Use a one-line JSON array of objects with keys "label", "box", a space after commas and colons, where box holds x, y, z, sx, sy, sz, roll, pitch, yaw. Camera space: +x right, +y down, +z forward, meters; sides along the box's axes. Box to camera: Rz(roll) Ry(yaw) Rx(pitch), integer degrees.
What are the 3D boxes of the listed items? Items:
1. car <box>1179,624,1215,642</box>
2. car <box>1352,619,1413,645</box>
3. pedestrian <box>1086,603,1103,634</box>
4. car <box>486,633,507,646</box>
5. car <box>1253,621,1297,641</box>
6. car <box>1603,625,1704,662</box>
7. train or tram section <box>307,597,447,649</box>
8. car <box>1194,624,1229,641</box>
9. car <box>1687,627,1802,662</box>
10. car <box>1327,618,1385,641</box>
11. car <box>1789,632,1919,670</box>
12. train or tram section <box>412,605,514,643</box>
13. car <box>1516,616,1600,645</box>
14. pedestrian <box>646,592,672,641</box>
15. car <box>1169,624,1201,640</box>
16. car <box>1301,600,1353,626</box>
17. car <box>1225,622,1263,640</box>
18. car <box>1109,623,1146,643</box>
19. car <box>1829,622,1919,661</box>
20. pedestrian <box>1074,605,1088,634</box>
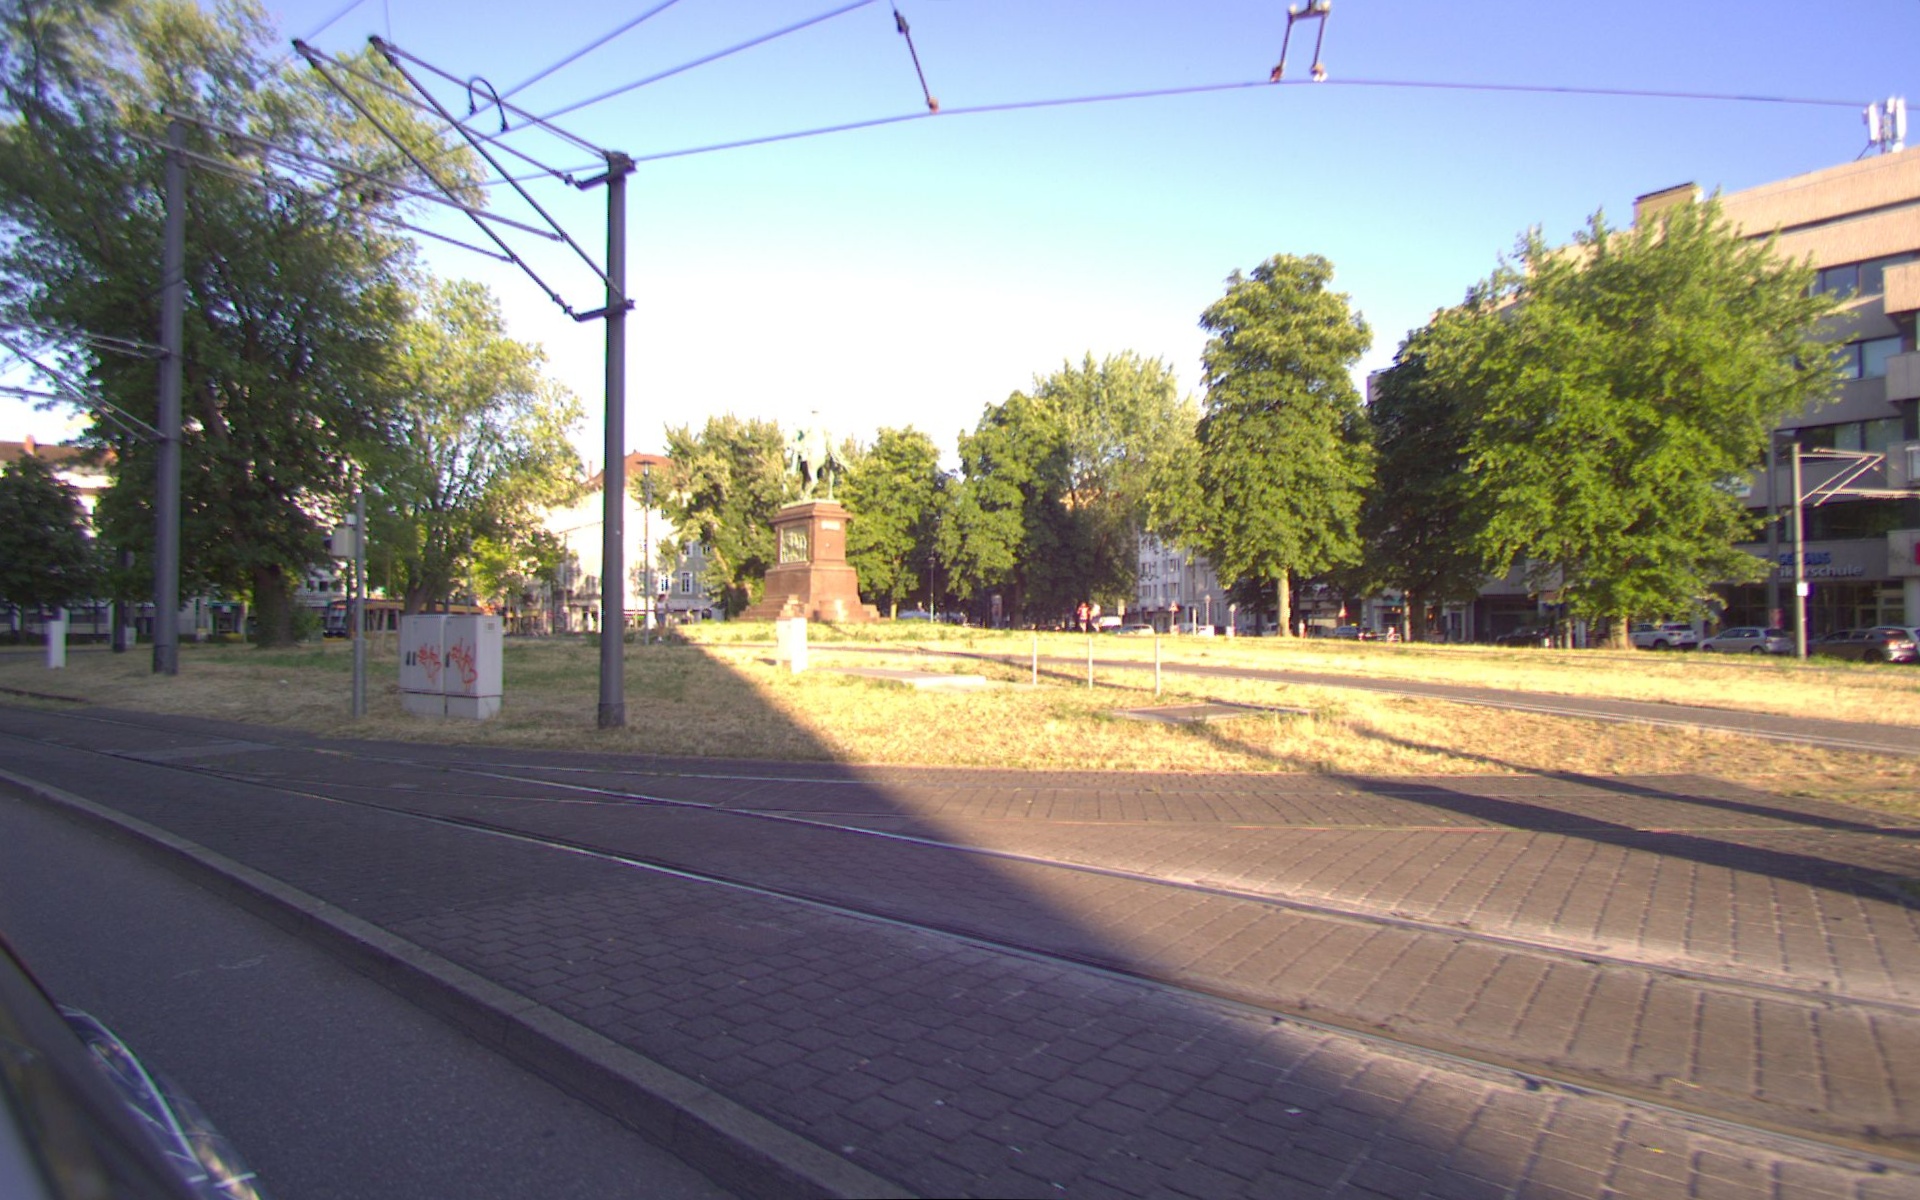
[{"label": "car", "box": [22.642, 3.150, 96.876, 1.768, 1.592, 4.009, 0, -3, -12]}, {"label": "car", "box": [31.094, 2.404, 74.694, 1.907, 1.808, 4.220, 0, -3, -15]}, {"label": "pedestrian", "box": [7.064, 0.974, 53.165, 0.609, 1.593, 0.554, 1, -3, -36]}, {"label": "car", "box": [-60.687, 5.191, 132.584, 1.696, 1.564, 3.976, 1, -3, -37]}, {"label": "car", "box": [27.661, 2.725, 88.969, 1.730, 1.676, 4.011, 0, -3, -15]}, {"label": "car", "box": [36.392, 2.299, 53.255, 1.730, 1.808, 4.220, 0, -3, -15]}, {"label": "train or tram section", "box": [-44.186, 1.748, 77.480, 2.909, 3.611, 13.363, 0, -1, 0]}, {"label": "car", "box": [24.979, 3.258, 100.560, 1.768, 1.592, 4.009, 0, -3, -12]}, {"label": "car", "box": [37.213, 2.112, 48.123, 1.730, 1.564, 4.011, 0, -3, -15]}, {"label": "car", "box": [28.813, 2.148, 73.719, 1.834, 1.569, 4.079, 0, -3, -15]}, {"label": "car", "box": [35.931, 2.035, 40.495, 1.683, 1.401, 4.010, 0, -3, -14]}, {"label": "train or tram section", "box": [-44.162, 2.087, 90.601, 2.890, 3.165, 12.856, 0, -1, -1]}, {"label": "car", "box": [35.126, 1.819, 59.538, 1.834, 1.569, 4.079, 0, -3, -15]}, {"label": "pedestrian", "box": [-10.626, 0.587, 35.757, 0.835, 1.703, 0.470, -2, -3, 38]}, {"label": "car", "box": [23.633, 3.386, 106.589, 1.768, 1.592, 4.009, 0, -3, -12]}, {"label": "car", "box": [29.445, 1.051, 81.240, 1.730, 1.959, 4.220, 0, -3, -15]}, {"label": "car", "box": [26.414, 2.885, 94.287, 1.768, 1.592, 4.009, 0, -3, -12]}, {"label": "car", "box": [14.231, 2.816, 86.042, 1.768, 1.592, 4.009, 0, -3, -12]}, {"label": "car", "box": [39.042, 1.725, 42.119, 1.730, 1.564, 4.011, 0, -3, -15]}, {"label": "pedestrian", "box": [6.347, 1.015, 53.127, 0.446, 1.524, 0.554, 1, -3, -36]}]
